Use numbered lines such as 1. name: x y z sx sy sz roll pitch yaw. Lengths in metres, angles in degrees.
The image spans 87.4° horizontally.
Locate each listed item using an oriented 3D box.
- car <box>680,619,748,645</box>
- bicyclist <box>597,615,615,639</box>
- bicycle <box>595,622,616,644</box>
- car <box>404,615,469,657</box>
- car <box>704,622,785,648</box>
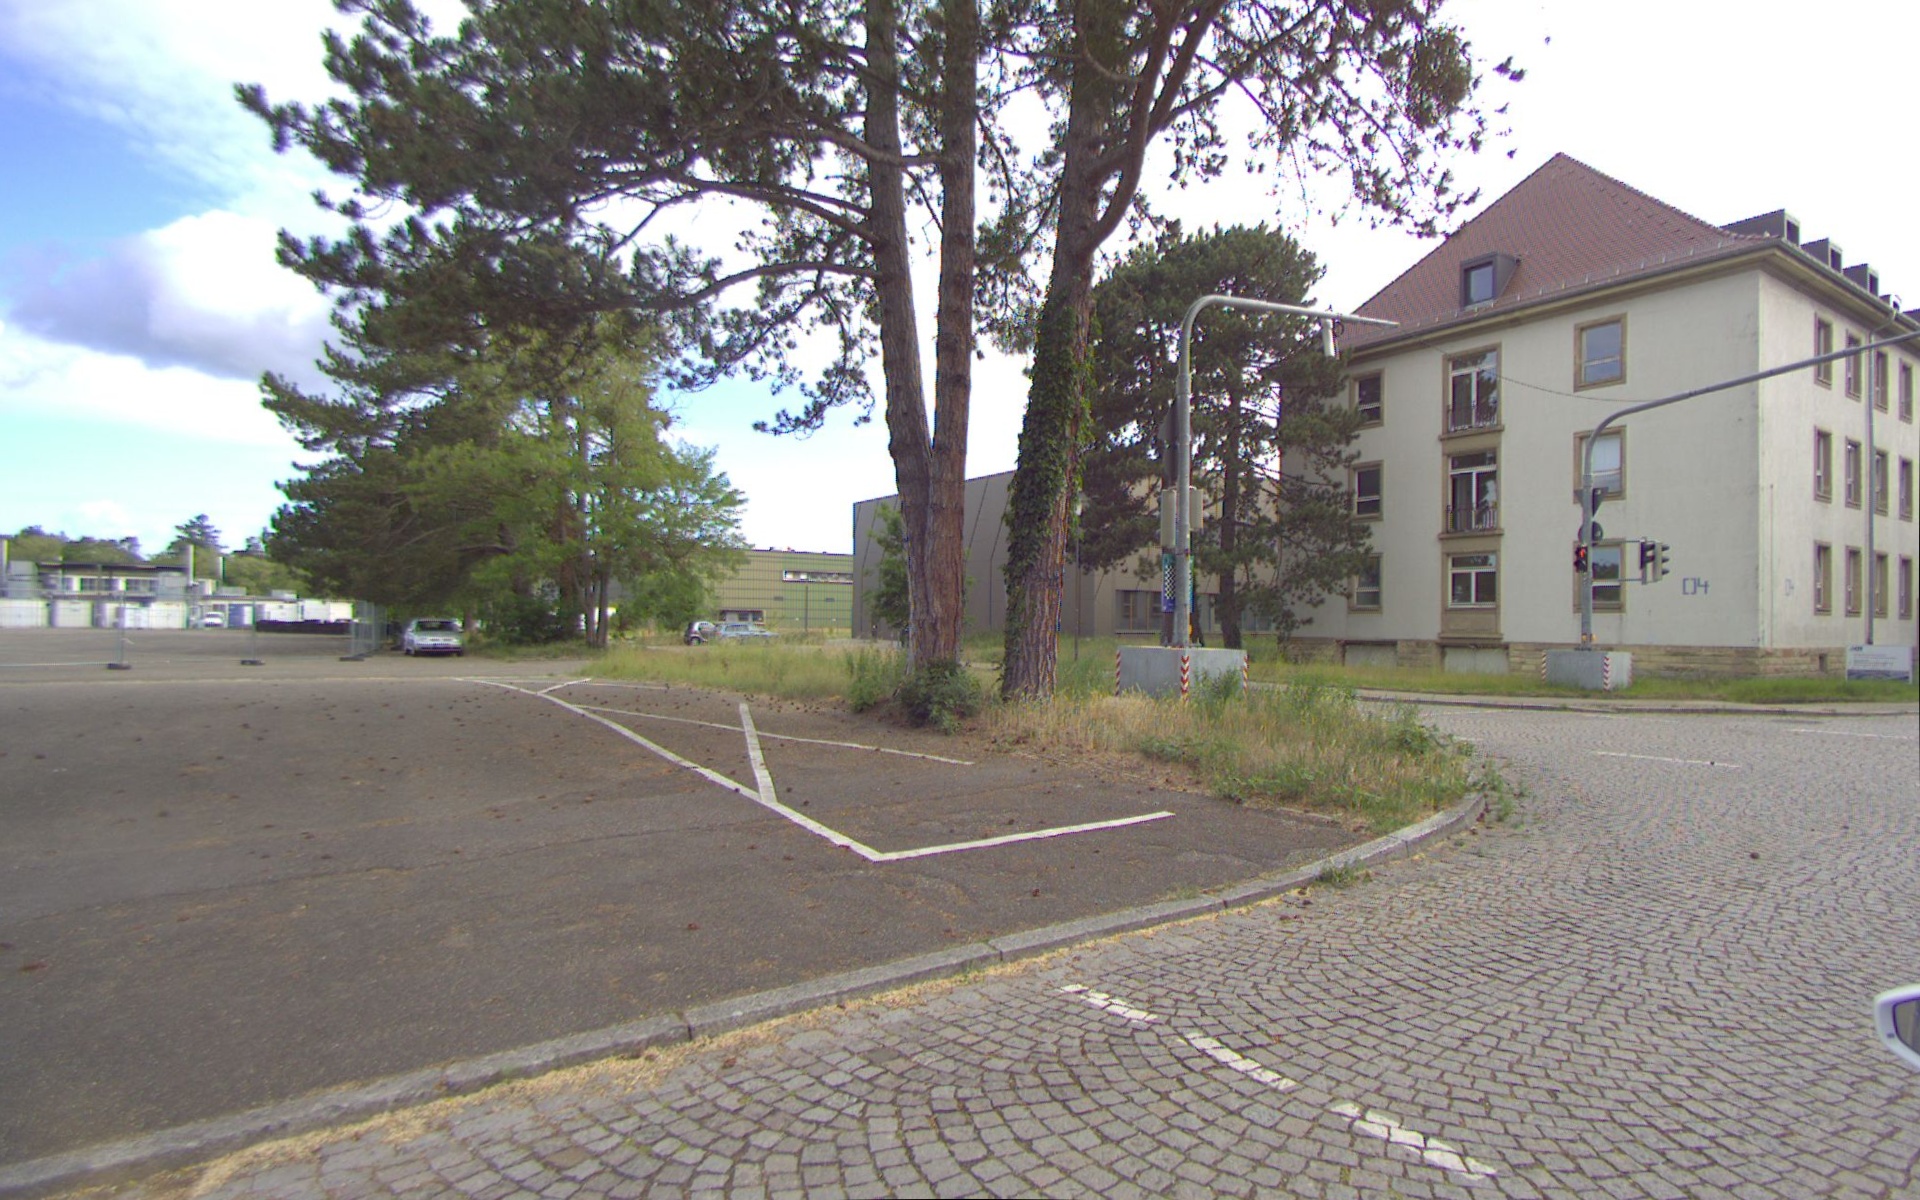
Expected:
1. car: -16.598 2.140 67.846 4.081 1.593 1.747 0 0 -37
2. bicyclist: -24.081 1.844 68.325 0.891 1.562 0.859 2 -1 -35
3. bicycle: -24.110 2.238 68.357 0.818 1.395 2.022 2 -1 -35
4. car: -20.207 1.361 38.692 1.718 1.451 4.121 2 -1 -35
5. car: -13.131 2.097 61.271 4.453 1.482 1.915 0 0 -37
